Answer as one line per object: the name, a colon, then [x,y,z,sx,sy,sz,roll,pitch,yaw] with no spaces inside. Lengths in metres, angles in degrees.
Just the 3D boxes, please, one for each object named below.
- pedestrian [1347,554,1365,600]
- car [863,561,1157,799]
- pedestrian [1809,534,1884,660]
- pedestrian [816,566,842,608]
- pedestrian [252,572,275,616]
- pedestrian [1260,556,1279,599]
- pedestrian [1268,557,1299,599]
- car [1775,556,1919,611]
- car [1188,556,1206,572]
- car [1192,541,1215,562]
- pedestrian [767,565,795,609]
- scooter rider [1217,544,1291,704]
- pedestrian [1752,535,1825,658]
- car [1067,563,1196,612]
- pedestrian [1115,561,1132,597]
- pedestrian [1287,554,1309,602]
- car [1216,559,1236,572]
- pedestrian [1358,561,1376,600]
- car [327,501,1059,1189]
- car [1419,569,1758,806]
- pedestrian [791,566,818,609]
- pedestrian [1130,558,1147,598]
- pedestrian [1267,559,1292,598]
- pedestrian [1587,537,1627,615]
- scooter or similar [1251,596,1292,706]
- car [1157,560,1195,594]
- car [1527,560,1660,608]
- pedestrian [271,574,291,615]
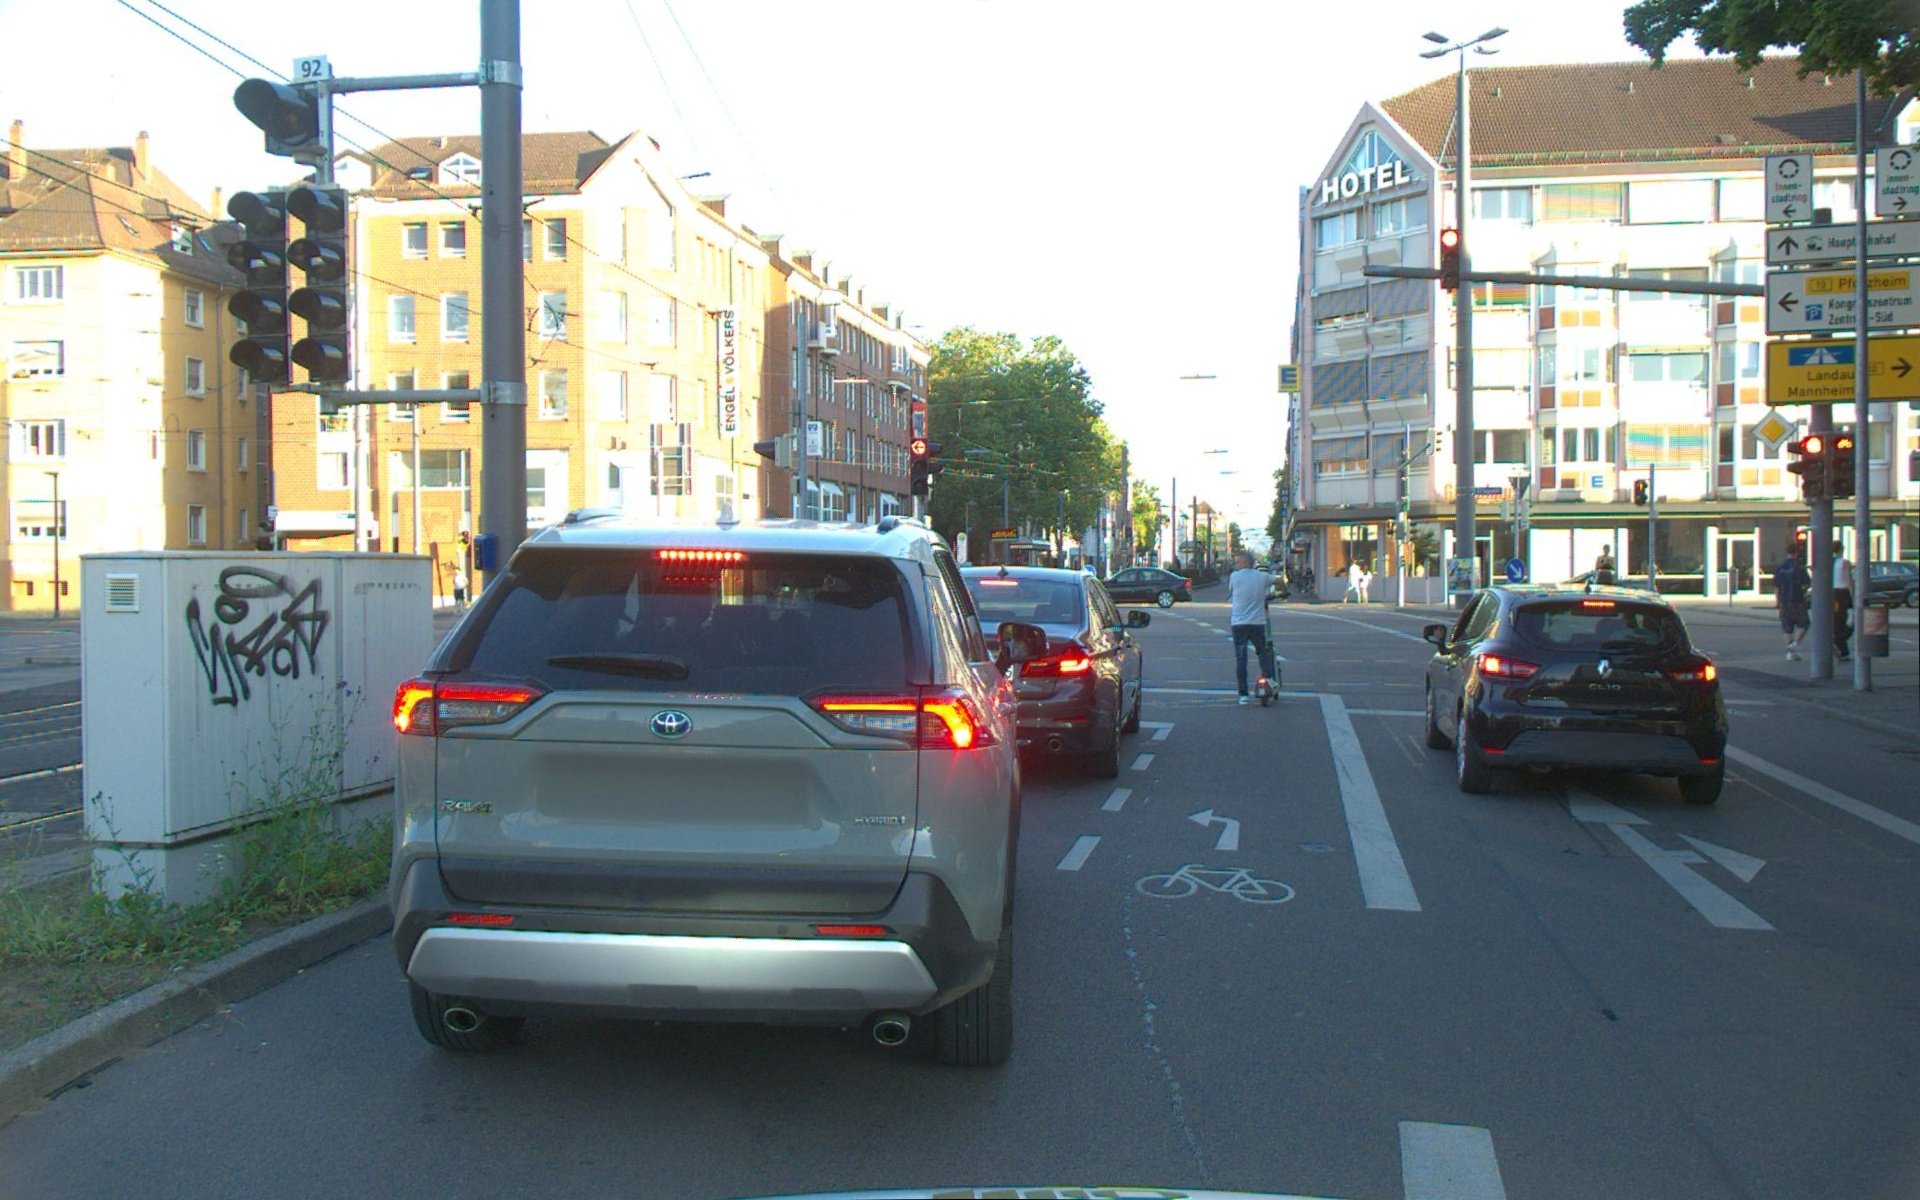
pedestrian: [15.777,-0.917,65.868,0.487,1.805,0.471,-1,1,-27]
car: [0.574,0.468,13.048,1.707,1.486,4.414,1,2,10]
pedestrian: [13.462,-0.058,25.115,0.716,1.862,0.991,2,1,44]
pedestrian: [-6.600,-0.653,83.397,1.070,2.048,1.164,1,1,8]
pedestrian: [-28.296,-0.261,67.229,0.662,1.773,0.679,1,0,-43]
pedestrian: [16.275,-1.178,86.972,0.912,2.234,0.853,1,1,8]
pedestrian: [13.433,-0.916,68.701,0.922,1.756,0.844,1,1,-30]
car: [30.133,-0.576,55.988,4.144,1.725,2.002,1,1,9]
car: [29.042,-4.400,202.549,1.951,1.892,4.004,0,1,13]
car: [23.372,-4.640,158.520,1.951,1.933,4.004,1,1,12]
pedestrian: [-8.539,-0.626,78.823,1.070,2.048,0.909,1,1,8]
scooter rider: [3.182,0.246,17.874,0.648,1.675,0.661,1,1,19]
pedestrian: [12.883,-0.063,25.719,0.716,1.862,0.991,2,1,44]
car: [6.132,-0.470,58.811,4.455,1.648,2.000,1,1,8]
pedestrian: [7.843,-0.993,79.278,0.686,1.693,0.809,1,1,12]
pedestrian: [17.364,-1.135,84.913,1.061,2.406,1.057,1,1,12]
car: [27.177,-3.525,169.136,1.951,1.333,4.004,0,1,9]
pedestrian: [16.283,-0.792,66.142,0.487,1.529,0.471,-1,1,-27]
car: [-0.595,0.530,6.114,1.797,1.664,4.092,1,2,2]
car: [4.570,0.517,12.598,1.726,1.465,4.004,1,1,11]
pedestrian: [-7.561,-0.627,80.302,1.070,2.048,0.909,1,1,8]
pedestrian: [8.528,-1.057,79.115,0.686,1.854,0.809,1,1,12]
pedestrian: [13.464,-0.910,69.682,0.712,1.651,0.765,-1,1,-27]
pedestrian: [15.330,-0.566,39.230,0.730,1.809,0.801,1,1,13]
scooter or similar: [3.345,0.527,17.738,0.273,1.109,1.258,1,1,17]
car: [12.147,-1.297,92.855,1.773,1.777,3.718,1,1,12]
car: [21.792,-0.562,57.013,3.902,1.502,2.002,1,1,9]
pedestrian: [-28.198,-0.239,68.696,0.539,1.671,0.501,1,1,9]
